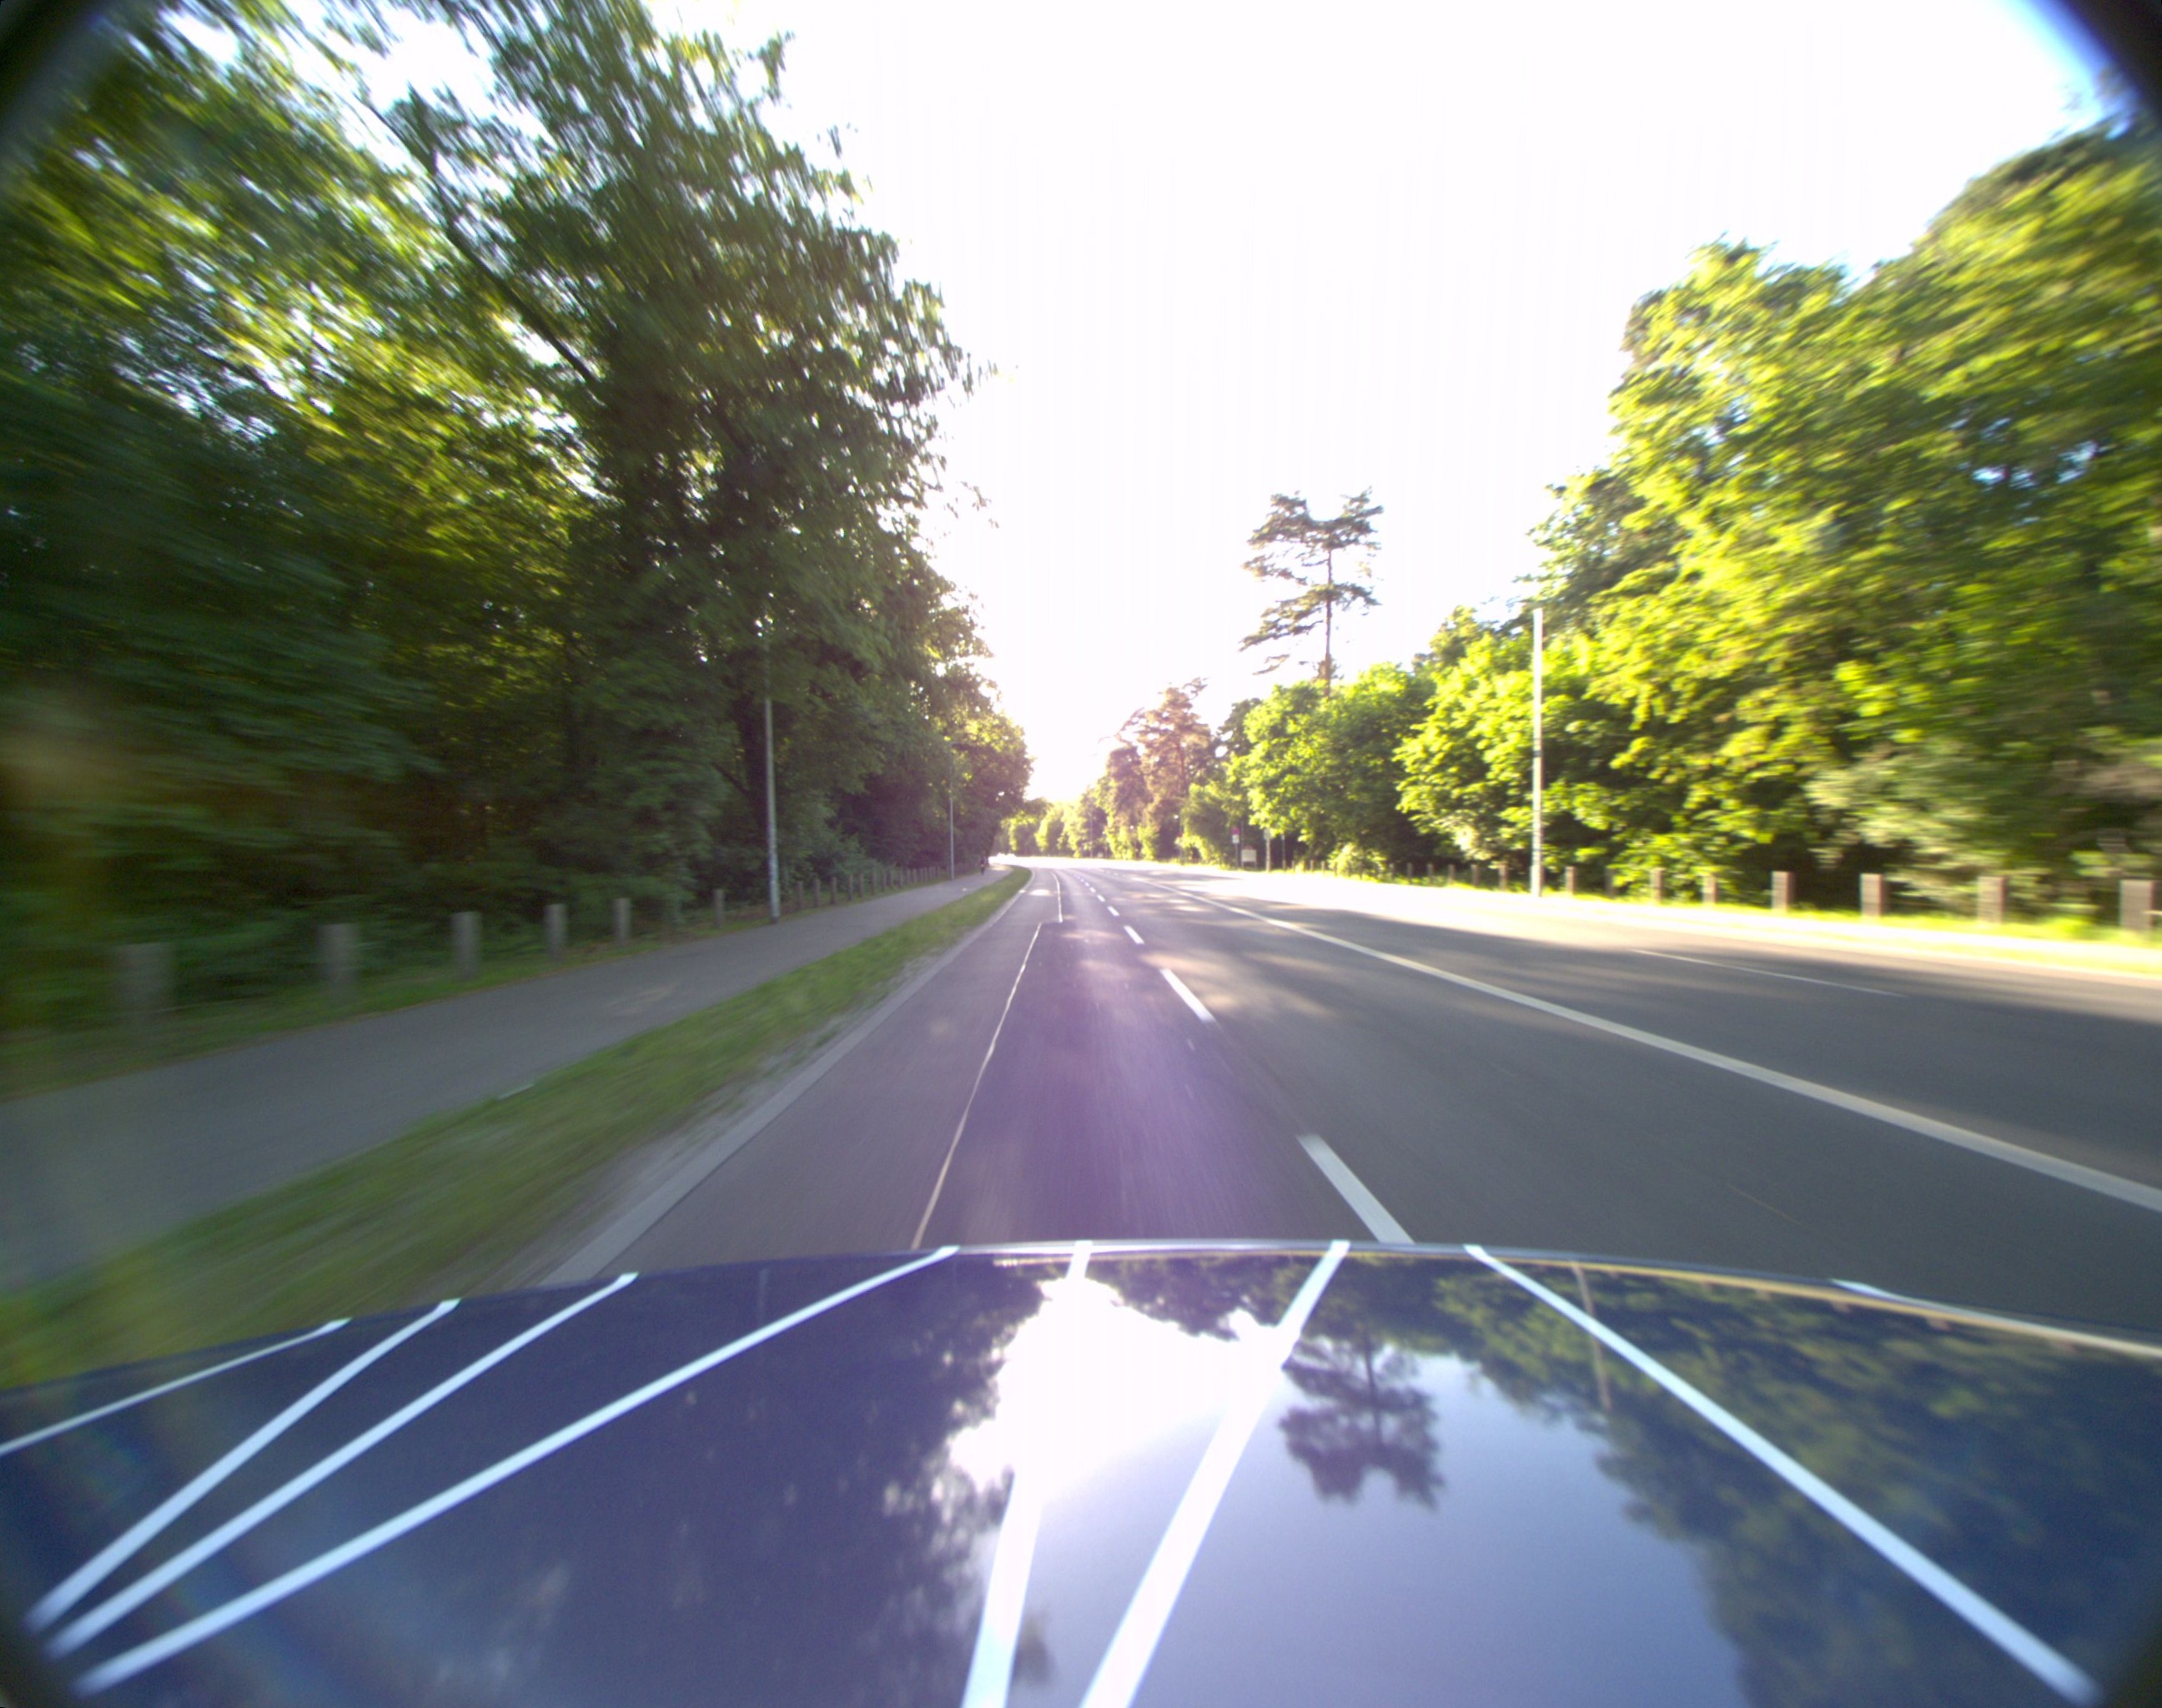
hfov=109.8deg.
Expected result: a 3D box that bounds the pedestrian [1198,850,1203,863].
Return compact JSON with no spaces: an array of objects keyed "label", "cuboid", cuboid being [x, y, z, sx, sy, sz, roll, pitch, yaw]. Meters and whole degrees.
[{"label":"pedestrian","cuboid":[12.889,0.262,82.013,0.472,1.307,0.512,-1,1,-2]}]

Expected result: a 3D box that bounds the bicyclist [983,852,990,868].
[{"label":"bicyclist","cuboid":[-7.602,0.481,61.248,0.514,1.260,0.497,-1,1,-2]}]

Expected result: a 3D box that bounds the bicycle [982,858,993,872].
[{"label":"bicycle","cuboid":[-7.567,0.899,61.559,0.608,1.051,2.874,-1,0,-2]}]
